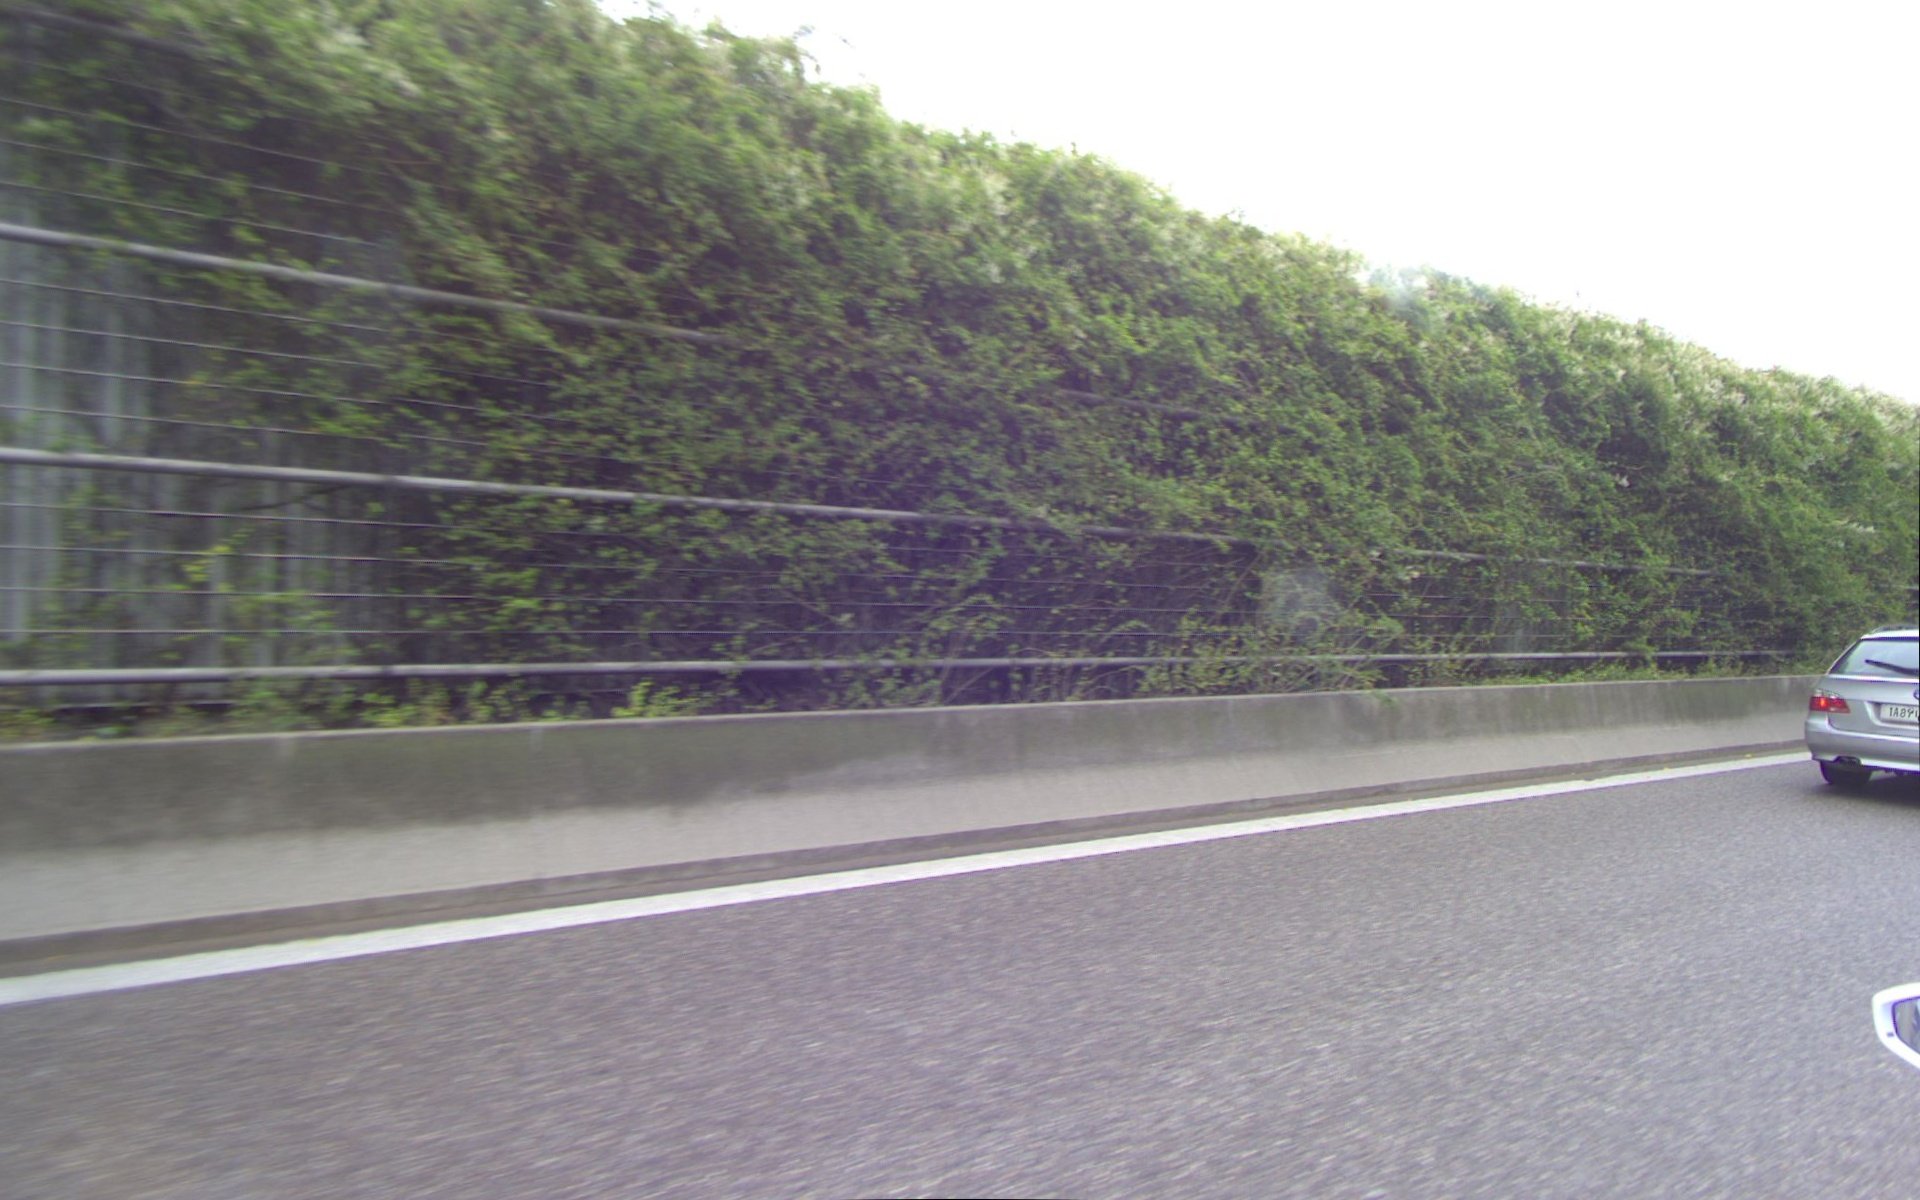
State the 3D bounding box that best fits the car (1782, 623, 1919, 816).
[{"bbox_3d":[9.678,0.984,9.193,4.971,1.489,1.712,1,1,-30],"label":"car"}]
